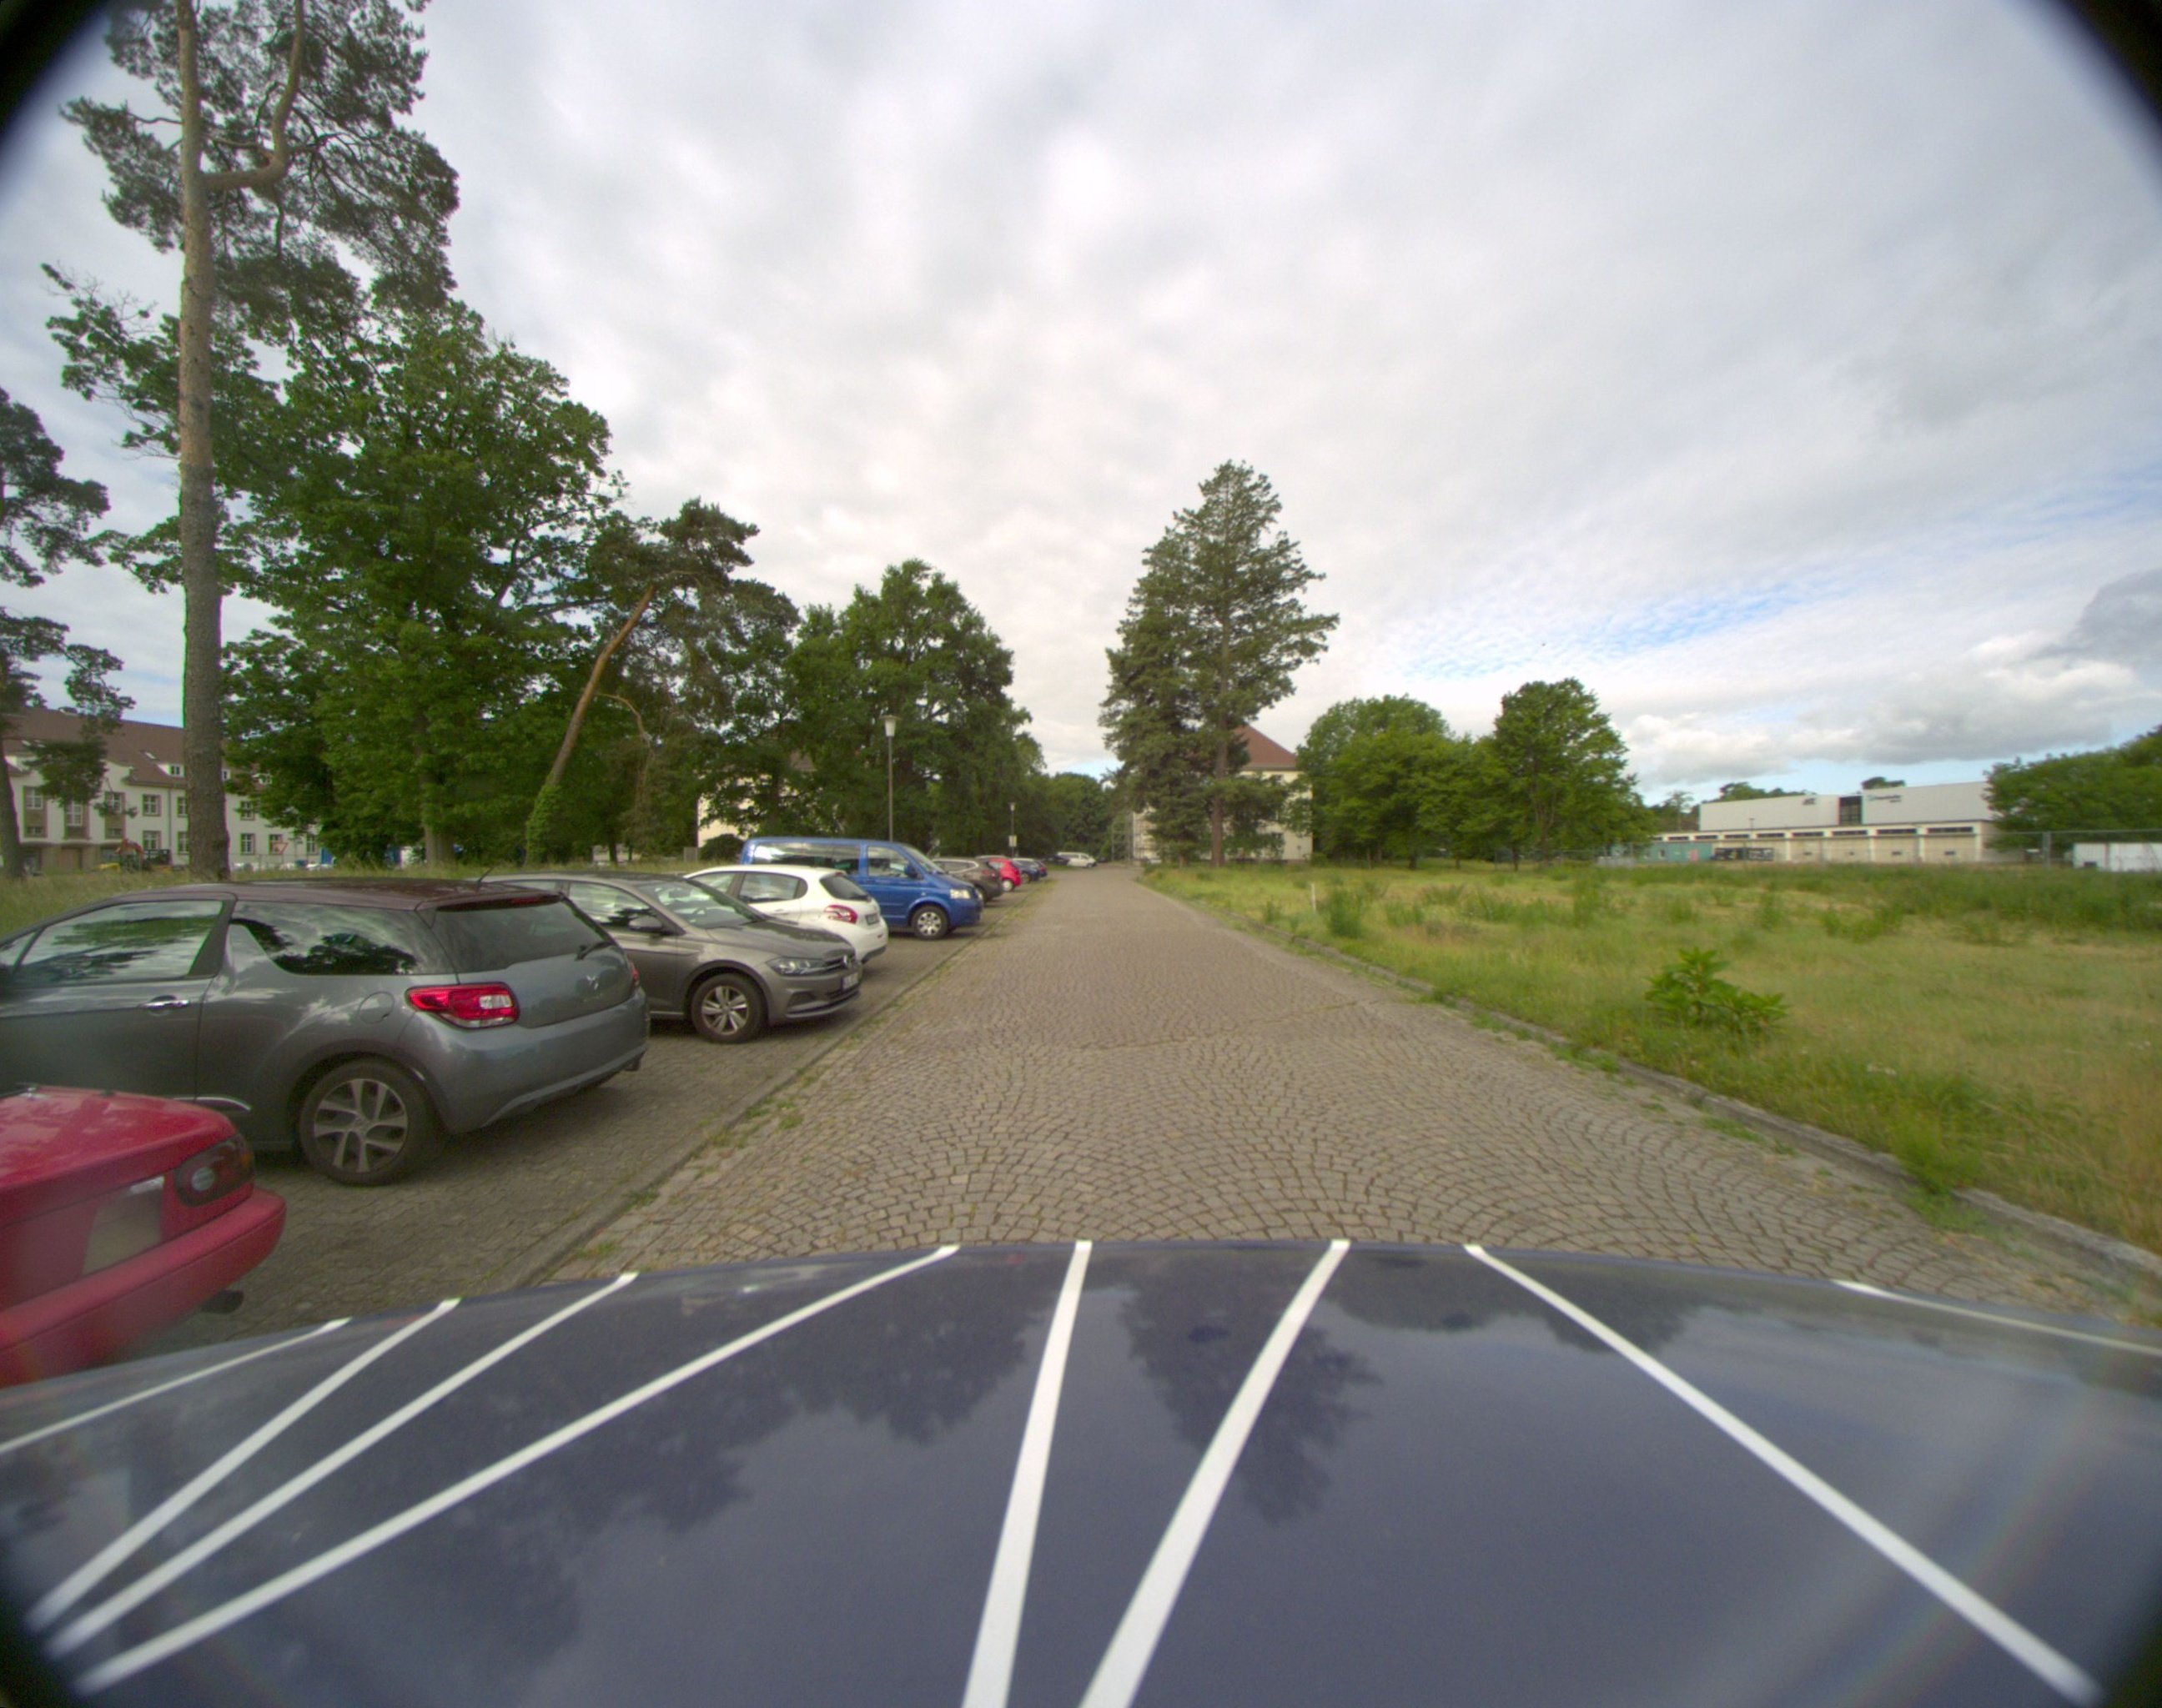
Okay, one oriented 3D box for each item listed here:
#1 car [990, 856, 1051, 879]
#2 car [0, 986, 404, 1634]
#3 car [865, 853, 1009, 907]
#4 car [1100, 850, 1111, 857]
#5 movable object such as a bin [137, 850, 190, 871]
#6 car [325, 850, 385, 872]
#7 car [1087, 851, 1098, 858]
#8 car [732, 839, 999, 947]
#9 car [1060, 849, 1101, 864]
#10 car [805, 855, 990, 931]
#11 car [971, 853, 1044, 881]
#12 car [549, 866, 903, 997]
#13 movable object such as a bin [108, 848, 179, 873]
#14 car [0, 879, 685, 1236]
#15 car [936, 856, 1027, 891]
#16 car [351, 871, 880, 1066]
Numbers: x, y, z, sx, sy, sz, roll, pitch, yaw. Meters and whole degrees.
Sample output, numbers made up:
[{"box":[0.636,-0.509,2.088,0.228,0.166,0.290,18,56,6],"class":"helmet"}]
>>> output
[{"box":[-3.919,0.855,49.479,3.878,1.417,1.582,1,1,-1],"class":"car"},{"box":[-4.313,1.061,1.757,3.872,1.229,1.758,2,0,-1],"class":"car"},{"box":[-4.517,0.810,24.300,4.271,1.589,1.821,1,1,-1],"class":"car"},{"box":[5.323,-0.046,165.216,1.870,1.408,4.694,1,0,-4],"class":"car"},{"box":[-89.778,0.577,74.398,1.553,2.002,2.985,0,1,1],"class":"movable object such as a bin"},{"box":[-67.948,0.600,71.205,1.999,2.002,3.998,0,0,-4],"class":"car"},{"box":[2.435,0.008,164.677,1.870,1.408,4.694,1,0,-4],"class":"car"},{"box":[-4.208,0.736,15.465,4.820,1.934,2.003,2,1,-1],"class":"car"},{"box":[-0.058,0.301,98.271,5.141,1.860,1.723,1,1,-1],"class":"car"},{"box":[-4.236,0.875,18.027,3.872,1.463,1.841,4,0,-1],"class":"car"},{"box":[-4.285,0.730,44.818,4.150,1.529,1.582,1,1,-1],"class":"car"},{"box":[-4.553,0.955,10.158,3.872,1.463,1.758,2,1,1],"class":"car"},{"box":[-76.516,0.519,62.066,1.679,2.002,3.245,0,0,8],"class":"movable object such as a bin"},{"box":[-4.651,0.958,4.296,3.872,1.463,1.758,2,1,-1],"class":"car"},{"box":[-4.476,0.873,34.578,3.895,1.451,1.582,1,1,-1],"class":"car"},{"box":[-4.082,0.968,7.155,3.872,1.463,1.758,2,1,0],"class":"car"}]
